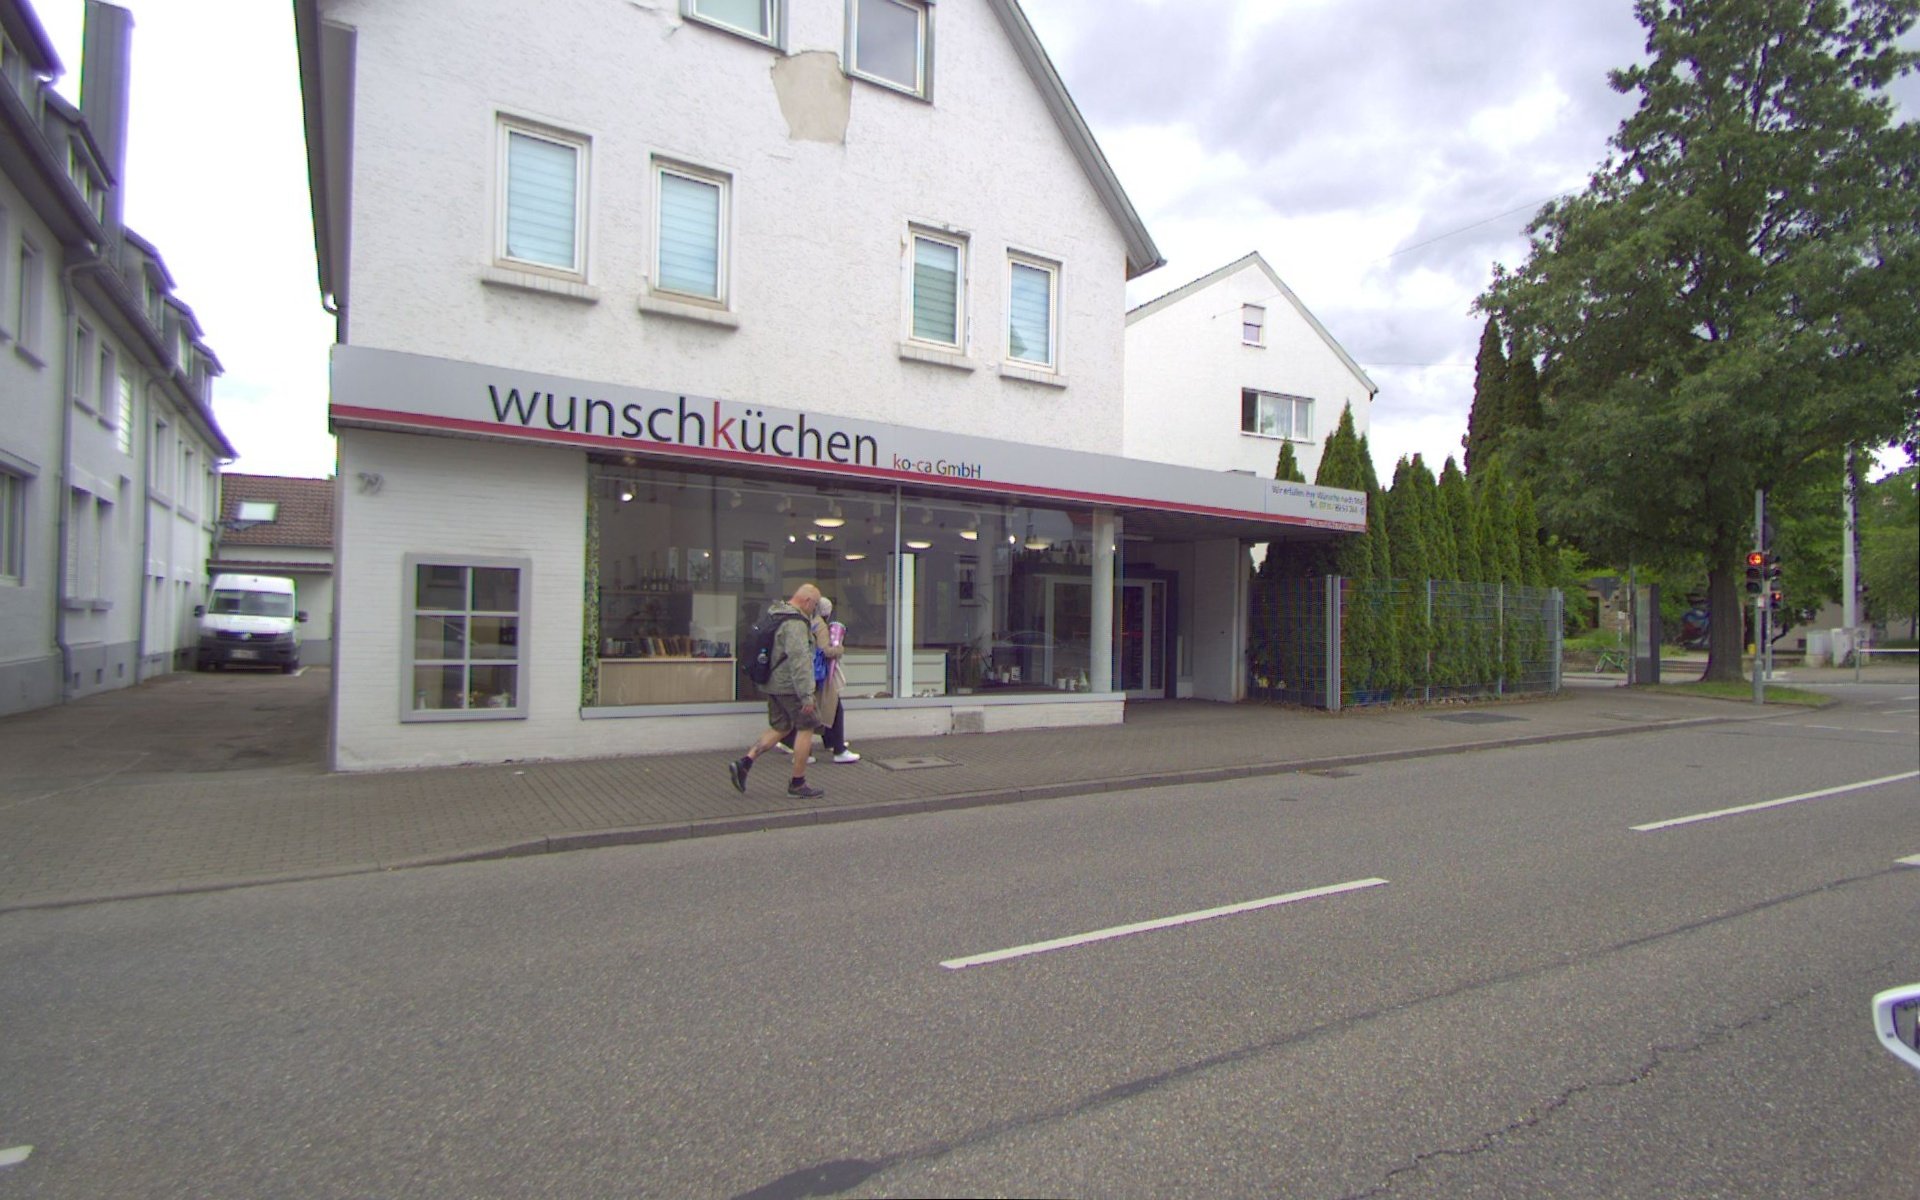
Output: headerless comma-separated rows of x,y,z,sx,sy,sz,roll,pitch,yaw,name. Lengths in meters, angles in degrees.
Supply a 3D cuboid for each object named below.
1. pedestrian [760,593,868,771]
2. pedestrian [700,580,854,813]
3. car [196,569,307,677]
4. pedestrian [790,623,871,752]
-1.447,0.771,9.909,0.784,1.638,0.747,1,2,-31,pedestrian
-1.505,0.741,8.239,1.008,1.767,0.747,1,1,-31,pedestrian
-19.059,0.581,27.258,1.938,2.541,5.943,4,-2,-32,car
-1.389,0.913,10.716,0.647,1.297,0.596,1,1,-31,pedestrian
